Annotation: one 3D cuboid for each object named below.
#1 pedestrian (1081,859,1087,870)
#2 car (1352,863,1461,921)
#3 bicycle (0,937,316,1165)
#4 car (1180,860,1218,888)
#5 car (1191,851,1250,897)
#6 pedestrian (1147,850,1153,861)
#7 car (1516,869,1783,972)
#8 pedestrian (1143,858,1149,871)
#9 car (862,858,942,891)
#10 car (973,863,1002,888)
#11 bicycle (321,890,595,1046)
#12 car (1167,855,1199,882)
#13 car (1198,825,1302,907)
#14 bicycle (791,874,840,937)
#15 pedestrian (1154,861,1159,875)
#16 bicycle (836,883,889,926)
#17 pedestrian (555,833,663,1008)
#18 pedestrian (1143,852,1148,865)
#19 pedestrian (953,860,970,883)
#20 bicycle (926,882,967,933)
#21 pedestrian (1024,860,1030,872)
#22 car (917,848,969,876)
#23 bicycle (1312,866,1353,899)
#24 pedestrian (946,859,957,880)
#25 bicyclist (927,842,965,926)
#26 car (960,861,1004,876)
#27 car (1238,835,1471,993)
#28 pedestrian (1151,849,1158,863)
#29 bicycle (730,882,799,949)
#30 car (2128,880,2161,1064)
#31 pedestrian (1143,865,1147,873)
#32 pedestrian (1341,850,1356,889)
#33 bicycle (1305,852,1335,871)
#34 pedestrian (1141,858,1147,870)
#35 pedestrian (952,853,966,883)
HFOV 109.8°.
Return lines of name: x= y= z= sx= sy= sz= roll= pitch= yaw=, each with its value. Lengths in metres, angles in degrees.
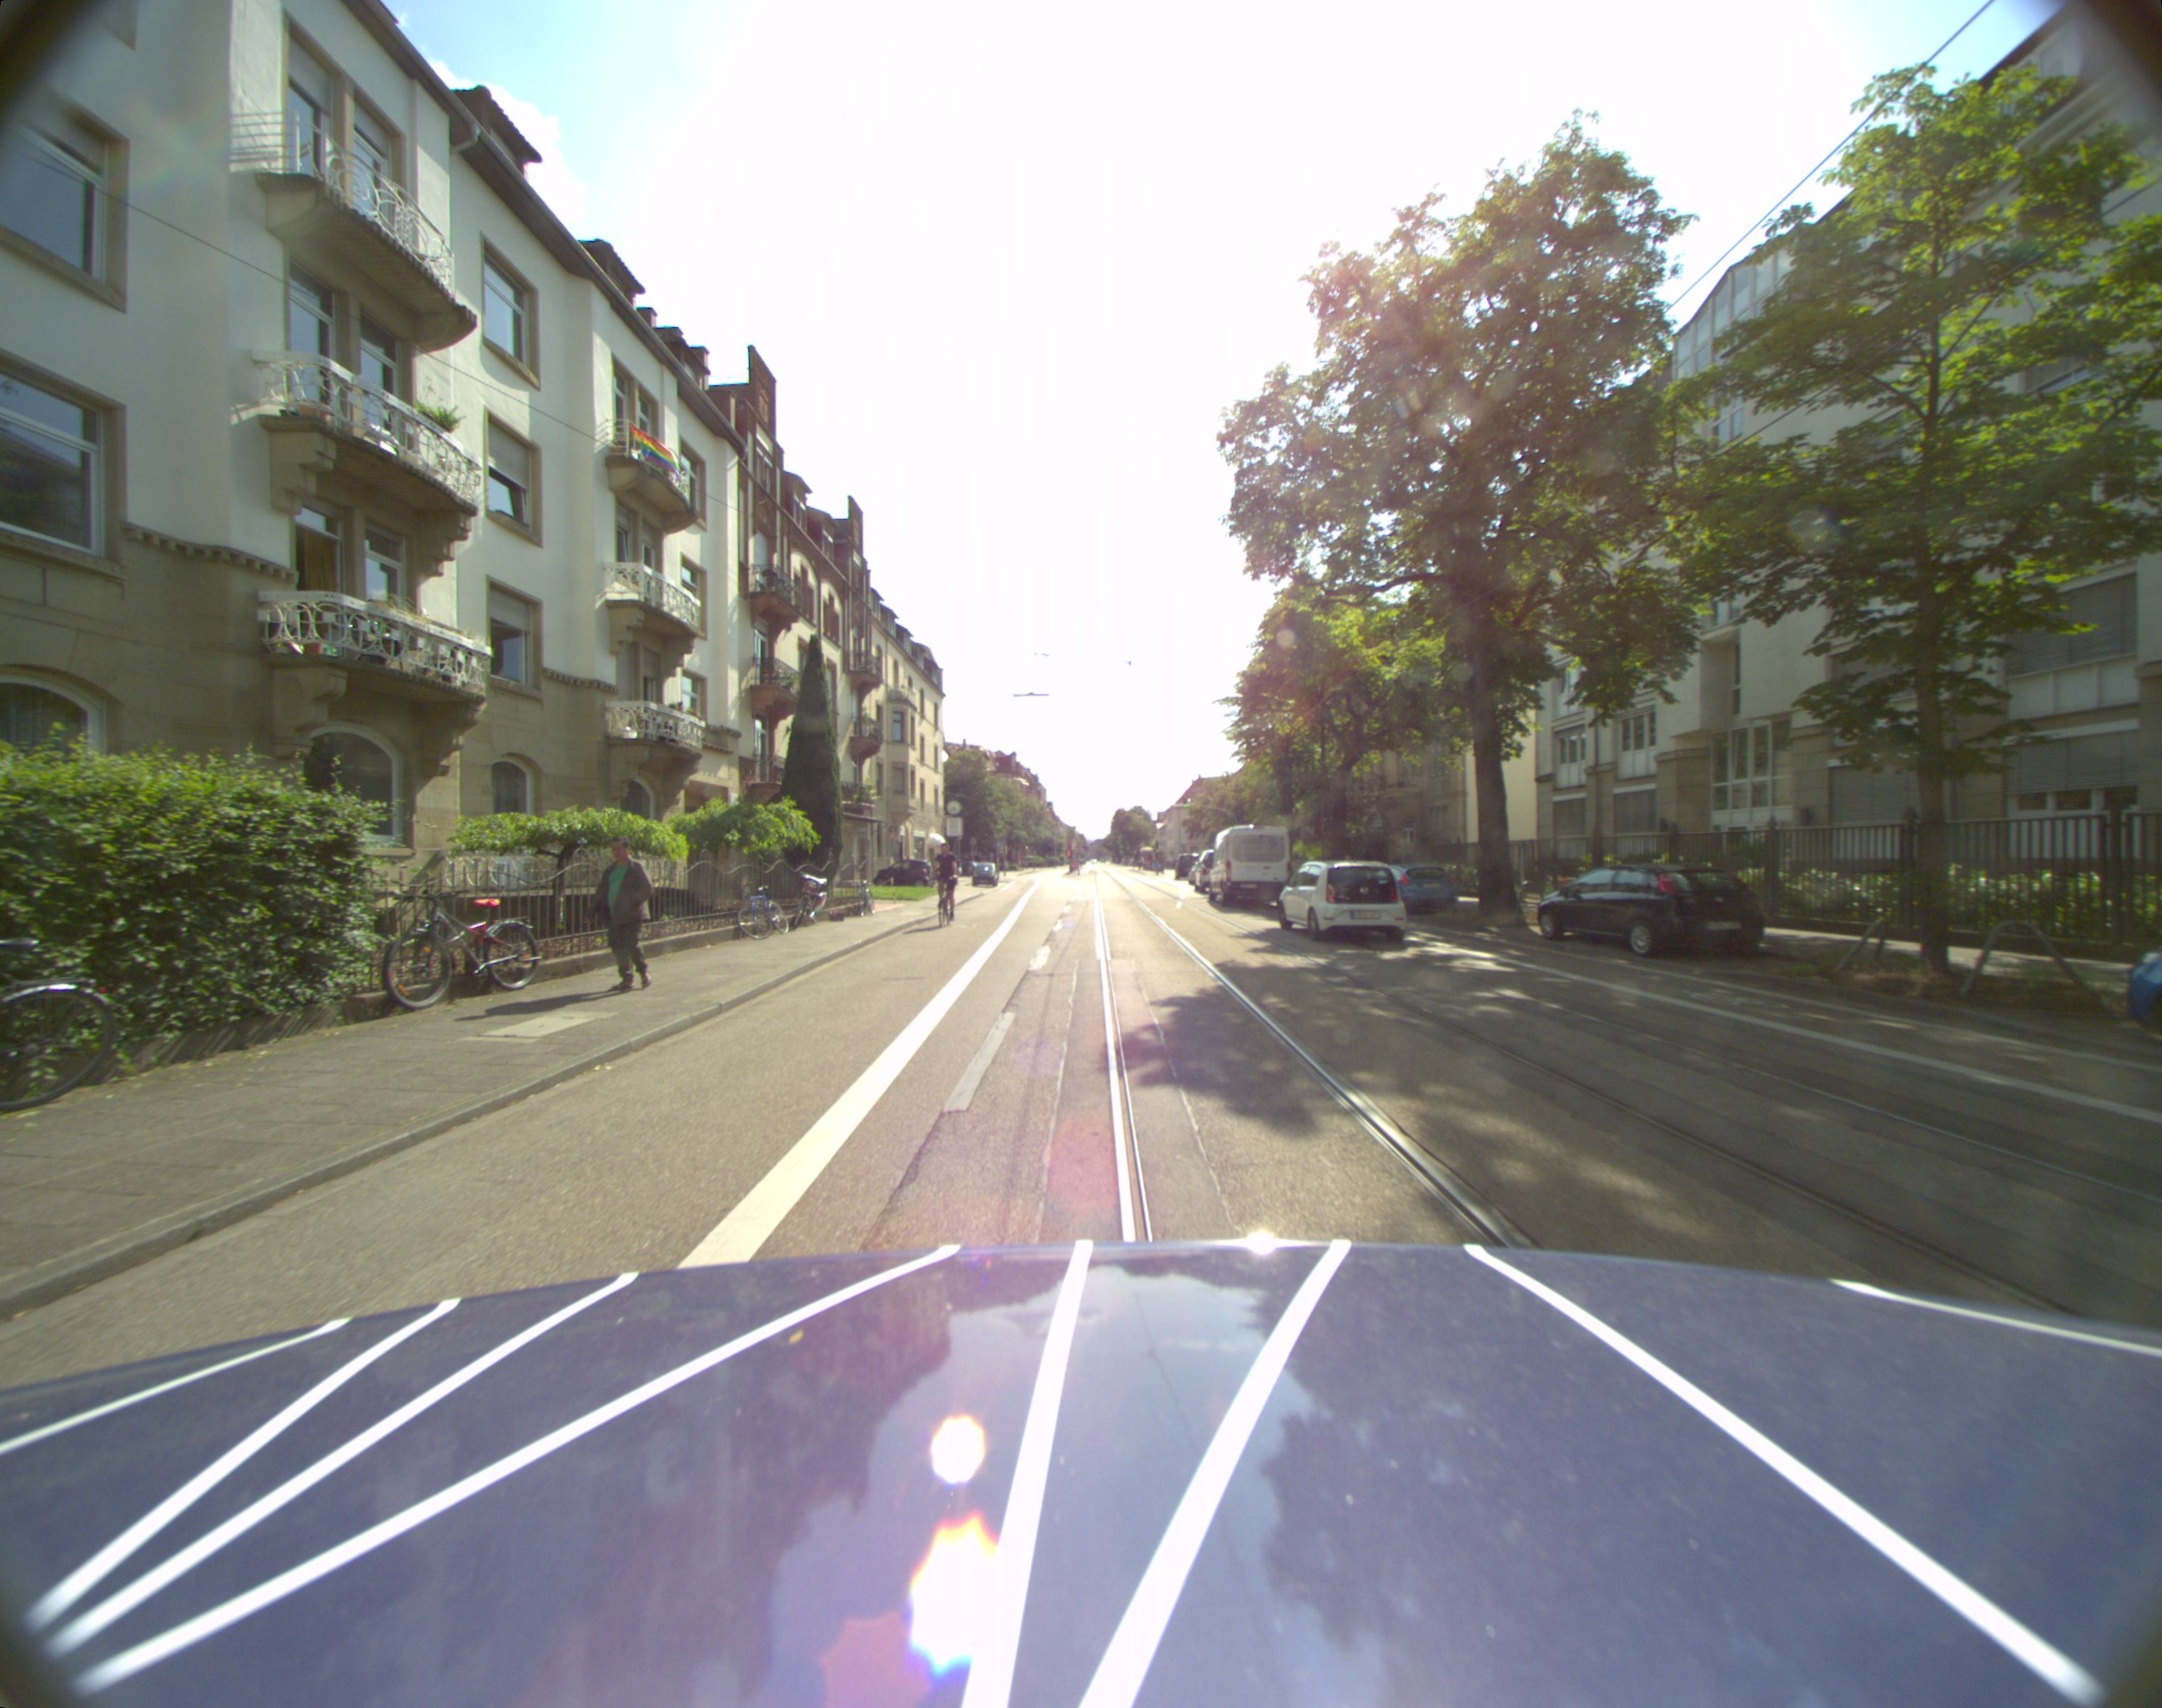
pedestrian: x=0.442 y=1.449 z=105.836 sx=0.702 sy=1.524 sz=0.557 roll=-2 pitch=1 yaw=1
car: x=9.838 y=1.090 z=23.298 sx=1.553 sy=1.510 sz=4.085 roll=-2 pitch=0 yaw=0
bicycle: x=-5.936 y=1.118 z=4.389 sx=0.612 sy=0.990 sz=2.362 roll=2 pitch=0 yaw=1
car: x=7.445 y=1.247 z=48.203 sx=1.697 sy=1.472 sz=4.480 roll=2 pitch=2 yaw=1
car: x=6.405 y=0.899 z=35.345 sx=1.991 sy=1.951 sz=5.181 roll=1 pitch=-1 yaw=3
pedestrian: x=8.760 y=0.160 z=96.217 sx=0.605 sy=1.329 sz=0.406 roll=2 pitch=1 yaw=-5
car: x=9.706 y=1.029 z=13.465 sx=1.630 sy=1.463 sz=4.205 roll=-2 pitch=-1 yaw=2
pedestrian: x=8.562 y=1.384 z=100.012 sx=0.657 sy=1.632 sz=0.639 roll=2 pitch=1 yaw=1
car: x=-8.888 y=1.019 z=37.867 sx=3.409 sy=1.515 sz=1.972 roll=1 pitch=0 yaw=3
car: x=-5.963 y=1.348 z=48.763 sx=1.517 sy=1.490 sz=2.794 roll=2 pitch=0 yaw=-1
bicycle: x=-6.219 y=1.057 z=7.864 sx=0.742 sy=1.224 sz=2.516 roll=0 pitch=0 yaw=0
car: x=7.871 y=1.050 z=59.125 sx=1.932 sy=1.906 sz=5.124 roll=3 pitch=0 yaw=2
car: x=5.630 y=0.421 z=26.310 sx=2.321 sy=2.492 sz=6.365 roll=0 pitch=-1 yaw=2
bicycle: x=-5.763 y=1.082 z=16.591 sx=0.452 sy=1.253 sz=1.844 roll=2 pitch=0 yaw=-2
pedestrian: x=8.583 y=1.582 z=86.540 sx=0.428 sy=1.495 sz=0.704 roll=1 pitch=1 yaw=1
bicycle: x=-5.877 y=1.315 z=20.579 sx=0.600 sy=0.955 sz=3.066 roll=3 pitch=0 yaw=-2
pedestrian: x=-5.209 y=0.720 z=8.420 sx=0.790 sy=1.850 sz=0.580 roll=2 pitch=0 yaw=-6
pedestrian: x=8.249 y=0.579 z=97.526 sx=0.498 sy=1.660 sz=0.678 roll=2 pitch=1 yaw=-5
pedestrian: x=-10.067 y=1.483 z=64.039 sx=1.013 sy=1.758 sz=0.850 roll=8 pitch=0 yaw=2
bicycle: x=-3.236 y=1.266 z=18.429 sx=0.617 sy=1.039 sz=1.835 roll=2 pitch=2 yaw=1
pedestrian: x=-7.551 y=1.734 z=105.869 sx=0.707 sy=1.644 sz=0.534 roll=-2 pitch=1 yaw=1
car: x=-14.468 y=0.851 z=79.323 sx=2.397 sy=2.777 sz=6.657 roll=0 pitch=-1 yaw=-38
bicycle: x=10.657 y=1.183 z=32.205 sx=2.061 sy=1.301 sz=0.619 roll=-2 pitch=1 yaw=-40
pedestrian: x=-8.343 y=0.978 z=48.788 sx=0.571 sy=1.318 sz=0.442 roll=4 pitch=0 yaw=-7
bicyclist: x=-3.245 y=0.706 z=18.361 sx=0.608 sy=1.937 sz=1.130 roll=-2 pitch=1 yaw=1
car: x=-9.501 y=1.399 z=72.680 sx=3.988 sy=1.410 sz=1.896 roll=0 pitch=0 yaw=36
car: x=4.980 y=0.964 z=15.184 sx=2.322 sy=2.493 sz=6.363 roll=0 pitch=0 yaw=0
pedestrian: x=8.927 y=0.293 z=92.364 sx=0.473 sy=1.647 sz=0.746 roll=7 pitch=1 yaw=0
bicycle: x=-5.940 y=1.124 z=14.354 sx=0.452 sy=1.116 sz=1.844 roll=2 pitch=0 yaw=2
car: x=9.543 y=0.944 z=4.419 sx=1.658 sy=1.476 sz=3.808 roll=-2 pitch=1 yaw=0
pedestrian: x=8.208 y=1.945 z=97.718 sx=0.340 sy=0.925 sz=0.346 roll=2 pitch=1 yaw=-6
pedestrian: x=13.889 y=0.811 z=39.505 sx=0.484 sy=2.002 sz=0.807 roll=-2 pitch=1 yaw=34
bicycle: x=13.126 y=0.433 z=41.770 sx=1.001 sy=0.927 sz=1.860 roll=-4 pitch=-1 yaw=0
pedestrian: x=8.774 y=1.363 z=105.897 sx=0.657 sy=1.598 sz=0.638 roll=2 pitch=1 yaw=-5
pedestrian: x=-7.848 y=0.875 z=48.797 sx=0.661 sy=1.831 sz=0.873 roll=6 pitch=0 yaw=-7
